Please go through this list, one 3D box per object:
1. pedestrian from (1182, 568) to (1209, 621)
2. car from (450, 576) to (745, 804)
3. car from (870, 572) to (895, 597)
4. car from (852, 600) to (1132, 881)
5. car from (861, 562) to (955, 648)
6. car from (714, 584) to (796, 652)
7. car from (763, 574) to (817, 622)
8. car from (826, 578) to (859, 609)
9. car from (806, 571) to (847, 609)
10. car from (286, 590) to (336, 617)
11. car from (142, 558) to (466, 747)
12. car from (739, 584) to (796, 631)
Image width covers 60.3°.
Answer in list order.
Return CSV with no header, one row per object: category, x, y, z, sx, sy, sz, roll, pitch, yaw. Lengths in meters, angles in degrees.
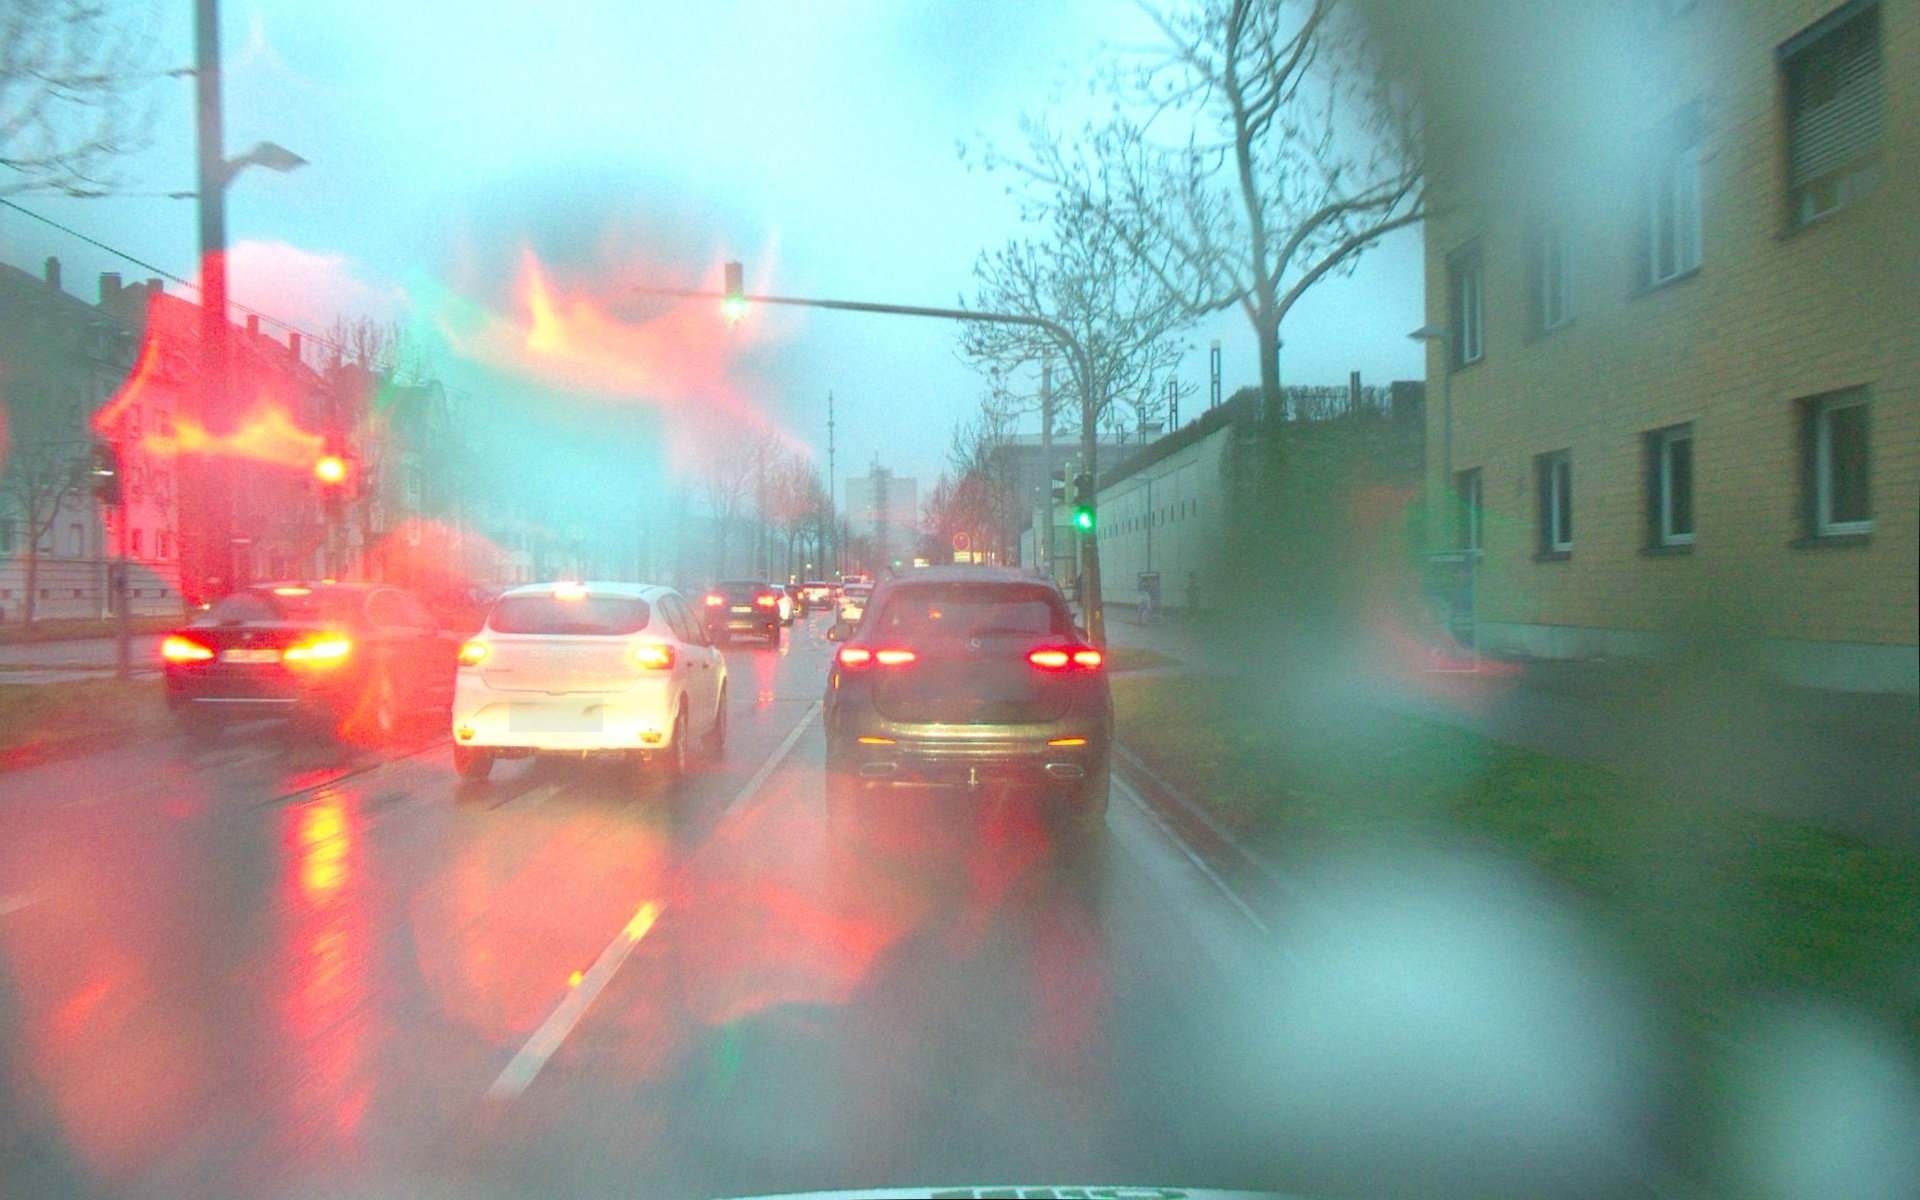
pedestrian,7.383,-0.180,51.859,0.609,1.639,1.066,-1,0,-5
car,-2.858,0.633,13.867,1.638,1.628,4.053,0,0,-1
car,-6.616,-1.317,141.460,1.953,2.049,4.000,-1,1,0
car,0.154,0.829,11.774,1.638,1.628,4.053,0,0,-1
car,-1.118,0.088,36.506,1.953,1.774,3.999,-1,0,-1
car,-5.140,0.416,41.959,1.638,1.628,4.053,0,0,-1
car,-7.604,-0.095,74.250,1.953,2.049,4.000,1,0,0
car,-8.044,-0.461,113.630,1.953,2.049,3.999,1,0,0
car,-7.580,-0.544,94.266,1.953,2.049,3.999,1,0,0
car,-39.951,0.192,101.895,1.740,1.526,3.555,-1,1,-2
car,-6.269,0.442,16.309,1.638,1.628,4.053,0,0,-1
car,-6.950,0.241,60.039,1.638,1.628,4.053,0,0,-1
